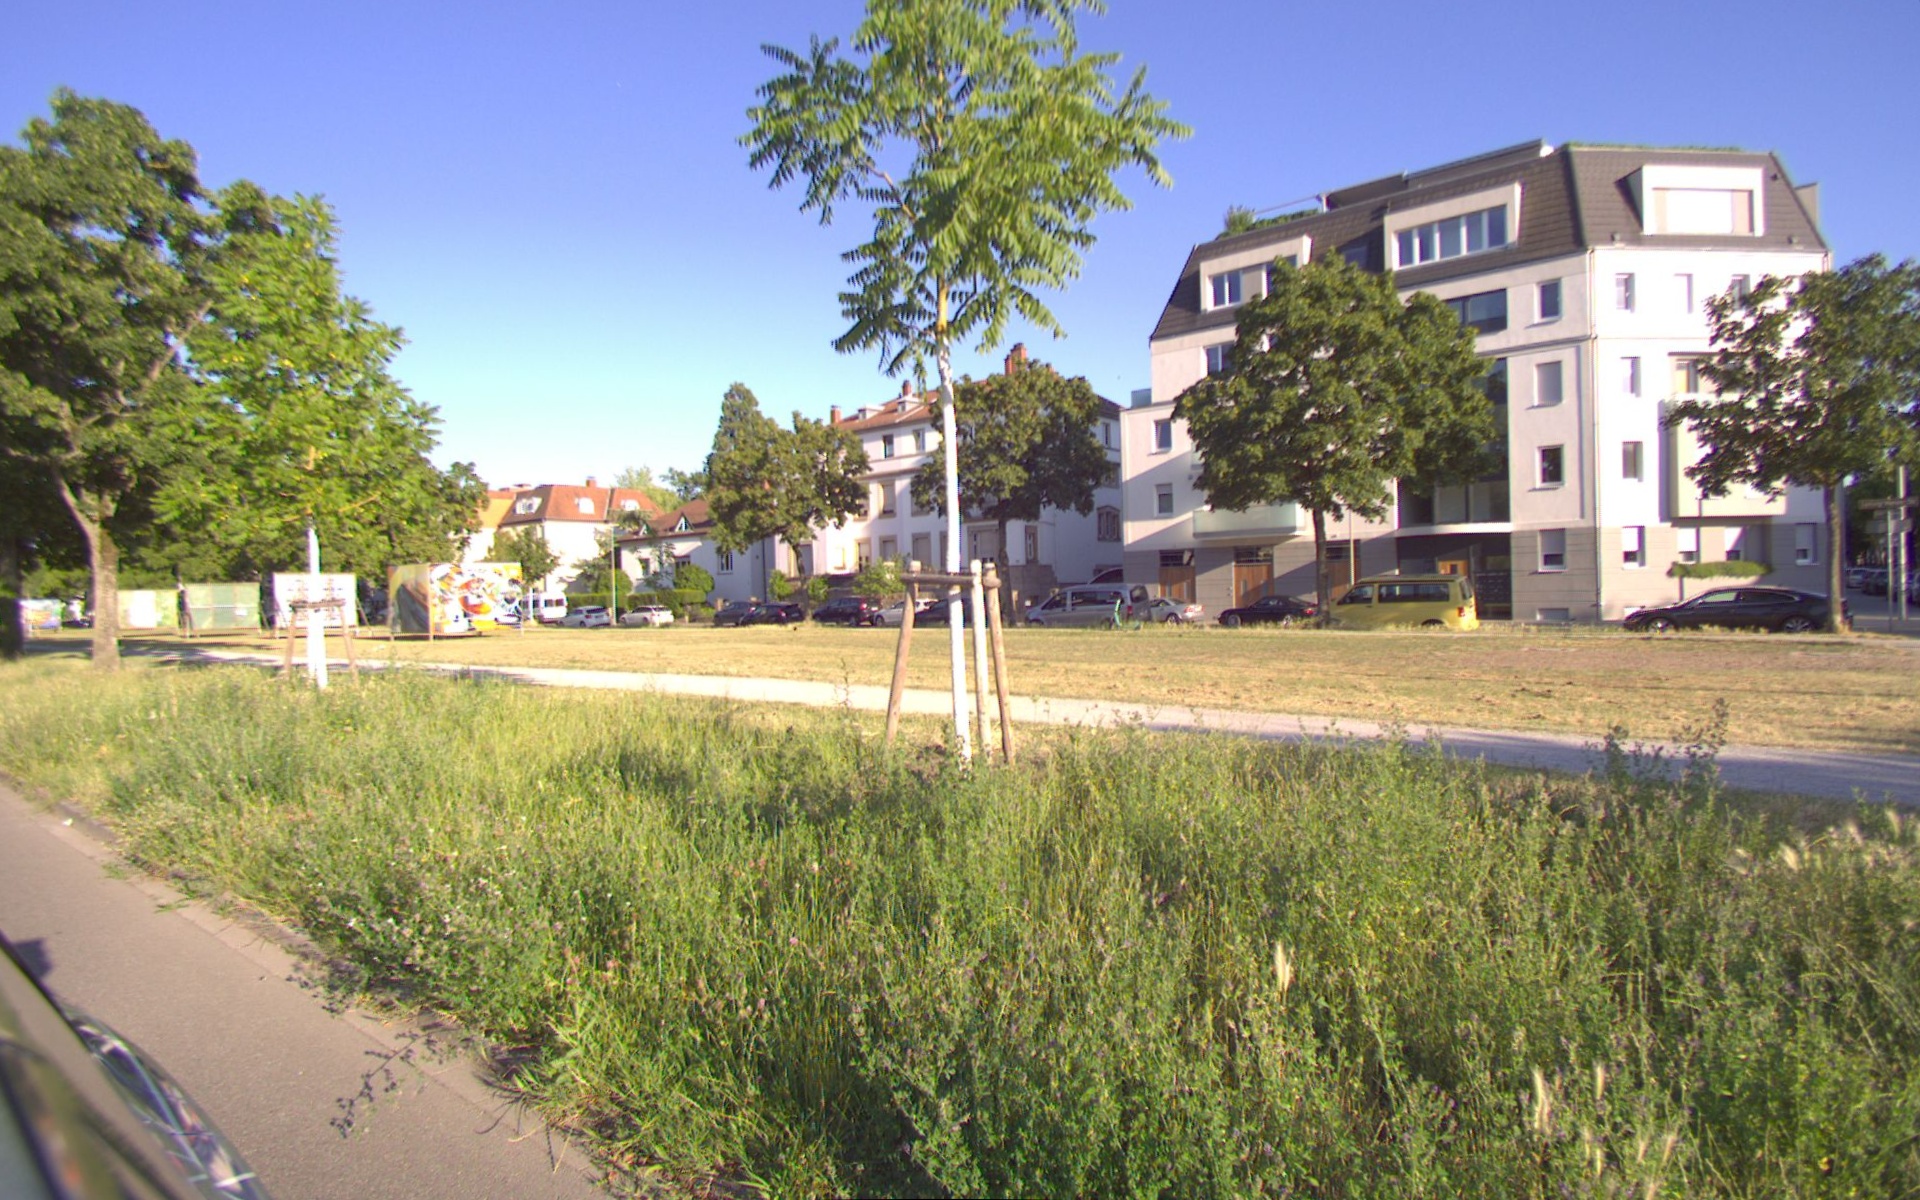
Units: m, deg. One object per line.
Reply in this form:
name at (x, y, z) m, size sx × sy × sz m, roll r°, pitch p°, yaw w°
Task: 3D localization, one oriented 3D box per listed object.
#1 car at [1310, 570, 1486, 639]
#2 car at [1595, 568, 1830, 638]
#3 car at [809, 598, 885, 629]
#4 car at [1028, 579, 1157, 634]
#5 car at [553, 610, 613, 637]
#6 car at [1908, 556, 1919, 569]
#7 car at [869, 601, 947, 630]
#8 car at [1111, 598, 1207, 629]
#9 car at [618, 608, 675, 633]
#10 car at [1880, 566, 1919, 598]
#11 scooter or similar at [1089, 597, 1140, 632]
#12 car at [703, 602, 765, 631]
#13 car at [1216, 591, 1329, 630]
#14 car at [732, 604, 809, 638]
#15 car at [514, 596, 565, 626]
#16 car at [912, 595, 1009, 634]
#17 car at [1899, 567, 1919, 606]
car at (13.698, 0.165, 31.798) m, size 4.689 × 2.029 × 2.007 m, roll -1°, pitch 0°, yaw 39°
car at (19.797, 0.099, 26.796) m, size 4.835 × 1.681 × 1.765 m, roll -1°, pitch 0°, yaw 40°
car at (-6.300, 0.762, 56.036) m, size 4.159 × 1.592 × 1.802 m, roll -1°, pitch 0°, yaw 40°
car at (5.101, 0.276, 39.259) m, size 4.570 × 2.029 × 2.052 m, roll -1°, pitch 0°, yaw 39°
car at (-23.483, 1.457, 62.992) m, size 3.833 × 1.592 × 1.802 m, roll -1°, pitch 0°, yaw 40°
car at (113.014, -4.410, 117.769) m, size 3.854 × 1.493 × 1.781 m, roll -2°, pitch 0°, yaw 40°
car at (-2.762, 0.837, 53.164) m, size 4.004 × 1.457 × 1.621 m, roll -1°, pitch -1°, yaw 39°
car at (8.542, 0.590, 43.537) m, size 3.723 × 1.250 × 1.606 m, roll -1°, pitch -1°, yaw 36°
car at (-21.225, 1.413, 68.490) m, size 3.964 × 1.592 × 1.802 m, roll -1°, pitch 0°, yaw 40°
car at (44.808, -0.845, 47.810) m, size 1.762 × 1.458 × 4.088 m, roll -1°, pitch 0°, yaw 39°
scooter or similar at (5.055, 0.484, 33.259) m, size 1.647 × 1.124 × 0.447 m, roll -1°, pitch 0°, yaw 40°
car at (-13.807, 1.026, 61.696) m, size 3.998 × 1.674 × 1.621 m, roll -1°, pitch 0°, yaw 41°
car at (12.484, 0.422, 40.579) m, size 3.997 × 1.474 × 1.655 m, roll -1°, pitch 0°, yaw 40°
car at (-9.634, 1.061, 51.460) m, size 3.833 × 1.592 × 1.802 m, roll -1°, pitch 0°, yaw 40°
car at (-32.142, 0.857, 77.283) m, size 4.130 × 2.230 × 1.972 m, roll -1°, pitch 0°, yaw 42°
car at (0.006, 0.618, 43.015) m, size 3.833 × 1.592 × 1.802 m, roll -1°, pitch 0°, yaw 40°
car at (41.874, -0.620, 43.397) m, size 1.887 × 1.603 × 4.040 m, roll -1°, pitch 0°, yaw 36°
